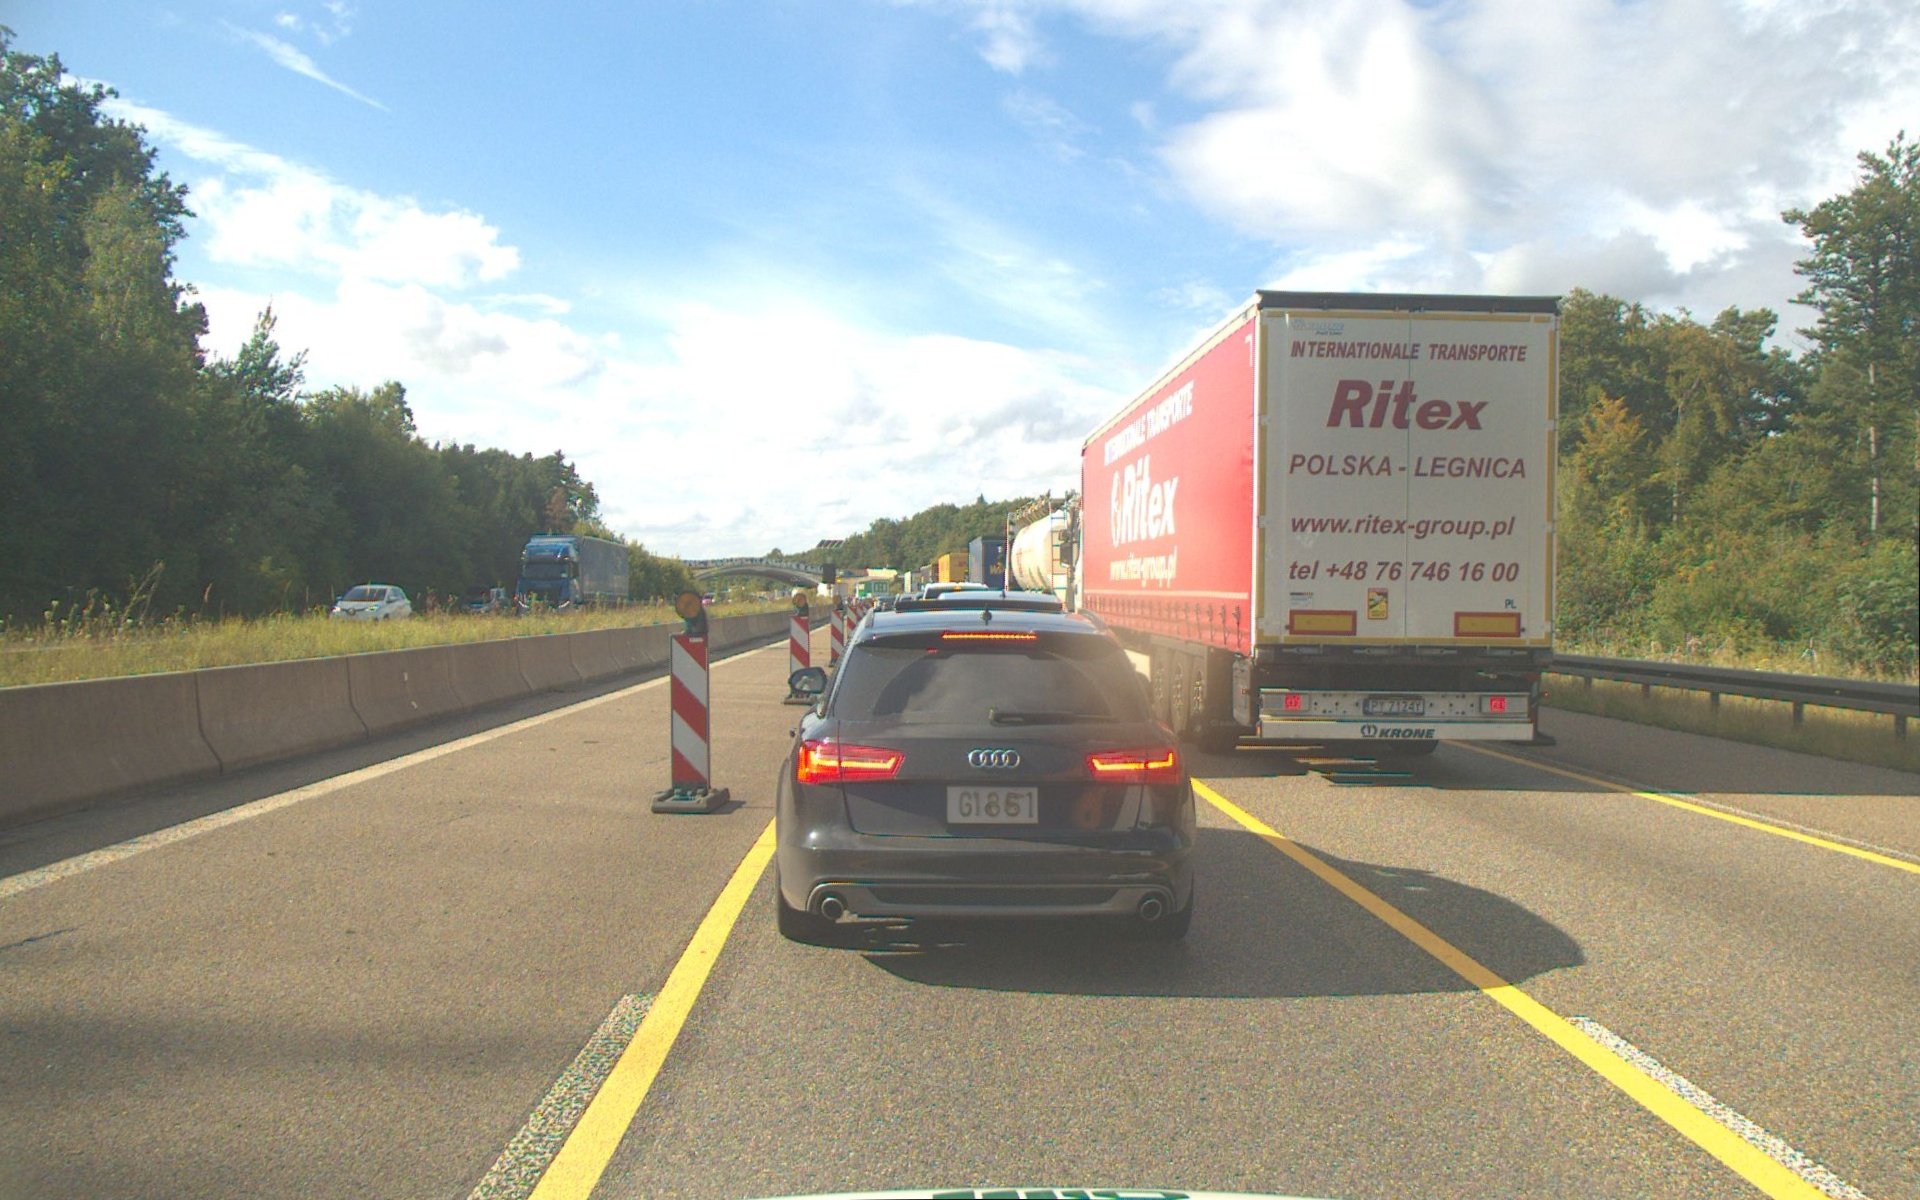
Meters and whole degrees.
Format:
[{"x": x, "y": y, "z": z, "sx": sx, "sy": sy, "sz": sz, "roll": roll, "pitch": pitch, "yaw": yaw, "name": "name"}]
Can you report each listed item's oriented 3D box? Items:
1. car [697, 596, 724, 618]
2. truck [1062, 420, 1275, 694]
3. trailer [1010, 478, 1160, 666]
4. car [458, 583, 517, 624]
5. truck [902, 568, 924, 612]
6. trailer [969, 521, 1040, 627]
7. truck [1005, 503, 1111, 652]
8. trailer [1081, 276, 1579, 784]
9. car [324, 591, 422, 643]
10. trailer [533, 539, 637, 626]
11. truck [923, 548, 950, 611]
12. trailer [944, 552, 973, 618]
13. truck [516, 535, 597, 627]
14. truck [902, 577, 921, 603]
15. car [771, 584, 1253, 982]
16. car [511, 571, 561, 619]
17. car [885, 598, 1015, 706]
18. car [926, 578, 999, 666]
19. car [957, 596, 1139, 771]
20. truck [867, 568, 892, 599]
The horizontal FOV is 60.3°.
[{"x": -20.271, "y": 0.599, "z": 134.588, "sx": 1.680, "sy": 1.736, "sz": 3.522, "roll": 1, "pitch": 0, "yaw": -1, "name": "car"}, {"x": 3.269, "y": -0.640, "z": 27.381, "sx": 2.614, "sy": 4.029, "sz": 5.709, "roll": 1, "pitch": 0, "yaw": -2, "name": "truck"}, {"x": 2.884, "y": -0.605, "z": 41.913, "sx": 2.590, "sy": 4.012, "sz": 12.595, "roll": 1, "pitch": 0, "yaw": -1, "name": "trailer"}, {"x": -24.889, "y": 0.182, "z": 87.196, "sx": 1.953, "sy": 2.049, "sz": 3.999, "roll": 1, "pitch": 0, "yaw": -1, "name": "car"}, {"x": -4.788, "y": -0.937, "z": 168.265, "sx": 2.094, "sy": 4.332, "sz": 7.069, "roll": 1, "pitch": 0, "yaw": -1, "name": "truck"}, {"x": 1.936, "y": -1.086, "z": 76.050, "sx": 2.748, "sy": 4.490, "sz": 10.430, "roll": 1, "pitch": 0, "yaw": -1, "name": "trailer"}, {"x": 2.764, "y": -0.613, "z": 48.332, "sx": 2.605, "sy": 4.041, "sz": 5.777, "roll": 1, "pitch": 0, "yaw": -1, "name": "truck"}, {"x": 3.474, "y": -0.577, "z": 20.005, "sx": 2.645, "sy": 4.038, "sz": 13.413, "roll": 1, "pitch": 0, "yaw": -1, "name": "trailer"}, {"x": -18.904, "y": 0.548, "z": 53.423, "sx": 1.751, "sy": 1.587, "sz": 3.999, "roll": 1, "pitch": 0, "yaw": -1, "name": "car"}, {"x": -19.605, "y": -0.870, "z": 87.345, "sx": 2.566, "sy": 4.214, "sz": 13.370, "roll": 1, "pitch": 0, "yaw": -1, "name": "trailer"}, {"x": -1.962, "y": -1.647, "z": 136.656, "sx": 1.953, "sy": 5.000, "sz": 9.558, "roll": 1, "pitch": 0, "yaw": -2, "name": "truck"}, {"x": -0.118, "y": -0.901, "z": 103.296, "sx": 1.584, "sy": 3.987, "sz": 6.487, "roll": 1, "pitch": 0, "yaw": -2, "name": "trailer"}, {"x": -19.517, "y": -0.882, "z": 80.232, "sx": 2.584, "sy": 4.262, "sz": 5.466, "roll": 1, "pitch": 0, "yaw": -1, "name": "truck"}, {"x": -6.889, "y": -1.310, "z": 232.867, "sx": 2.515, "sy": 3.527, "sz": 7.395, "roll": 1, "pitch": 0, "yaw": -2, "name": "truck"}, {"x": 0.171, "y": 0.706, "z": 8.253, "sx": 1.811, "sy": 1.489, "sz": 3.999, "roll": 1, "pitch": 0, "yaw": -1, "name": "car"}, {"x": -24.838, "y": -0.289, "z": 97.061, "sx": 2.208, "sy": 2.689, "sz": 5.010, "roll": 1, "pitch": 0, "yaw": -8, "name": "car"}, {"x": -0.155, "y": 0.708, "z": 23.976, "sx": 1.716, "sy": 1.421, "sz": 3.607, "roll": 1, "pitch": 0, "yaw": -1, "name": "car"}, {"x": 0.031, "y": 0.484, "z": 37.424, "sx": 1.549, "sy": 1.869, "sz": 3.111, "roll": 1, "pitch": 0, "yaw": -1, "name": "car"}, {"x": 0.754, "y": 0.726, "z": 15.799, "sx": 1.493, "sy": 1.464, "sz": 3.284, "roll": 1, "pitch": 0, "yaw": -1, "name": "car"}, {"x": -11.395, "y": -2.277, "z": 233.567, "sx": 3.239, "sy": 4.248, "sz": 9.692, "roll": 1, "pitch": 0, "yaw": -5, "name": "truck"}]
